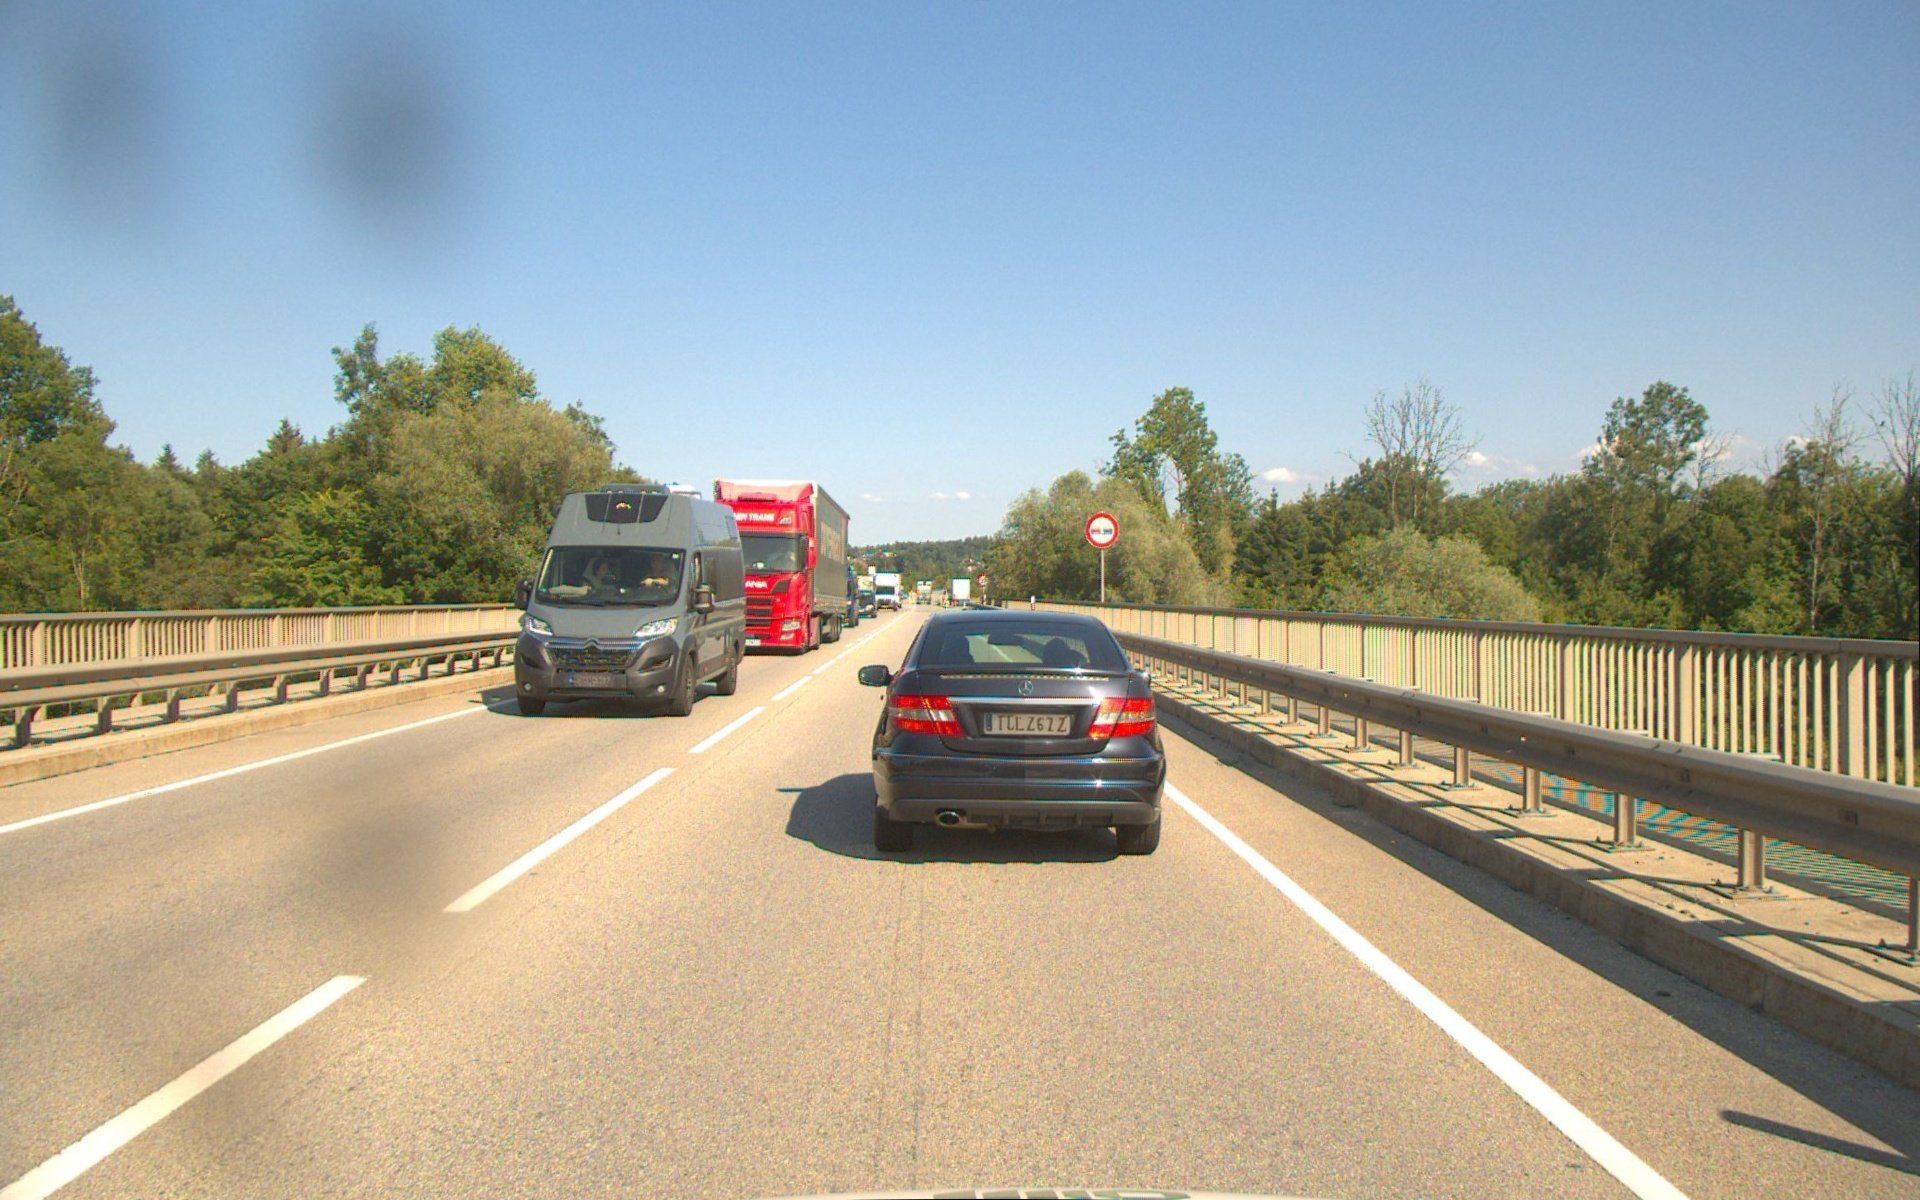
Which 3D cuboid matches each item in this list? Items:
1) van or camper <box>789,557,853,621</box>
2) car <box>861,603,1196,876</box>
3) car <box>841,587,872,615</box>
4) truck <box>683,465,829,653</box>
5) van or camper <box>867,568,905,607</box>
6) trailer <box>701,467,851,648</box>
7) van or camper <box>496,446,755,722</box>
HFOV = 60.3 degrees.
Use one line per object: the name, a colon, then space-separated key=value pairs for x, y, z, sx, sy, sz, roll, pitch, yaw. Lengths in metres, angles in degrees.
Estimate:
van or camper: x=-6.080 y=-0.491 z=73.062 sx=2.381 sy=2.688 sz=6.403 roll=1 pitch=0 yaw=-1
car: x=0.367 y=0.738 z=10.733 sx=1.756 sy=1.400 sz=4.000 roll=0 pitch=0 yaw=0
car: x=-6.333 y=0.047 z=101.159 sx=1.805 sy=1.670 sz=4.573 roll=1 pitch=0 yaw=-4
truck: x=-4.867 y=-0.953 z=40.470 sx=2.848 sy=4.257 sz=5.712 roll=1 pitch=0 yaw=0
van or camper: x=-6.511 y=-1.127 z=145.934 sx=2.580 sy=3.313 sz=7.752 roll=1 pitch=0 yaw=3
trailer: x=-4.943 y=-1.077 z=47.454 sx=2.848 sy=4.377 sz=14.300 roll=1 pitch=0 yaw=-1
van or camper: x=-4.213 y=-0.209 z=22.166 sx=2.269 sy=3.104 sz=6.814 roll=1 pitch=0 yaw=-2
